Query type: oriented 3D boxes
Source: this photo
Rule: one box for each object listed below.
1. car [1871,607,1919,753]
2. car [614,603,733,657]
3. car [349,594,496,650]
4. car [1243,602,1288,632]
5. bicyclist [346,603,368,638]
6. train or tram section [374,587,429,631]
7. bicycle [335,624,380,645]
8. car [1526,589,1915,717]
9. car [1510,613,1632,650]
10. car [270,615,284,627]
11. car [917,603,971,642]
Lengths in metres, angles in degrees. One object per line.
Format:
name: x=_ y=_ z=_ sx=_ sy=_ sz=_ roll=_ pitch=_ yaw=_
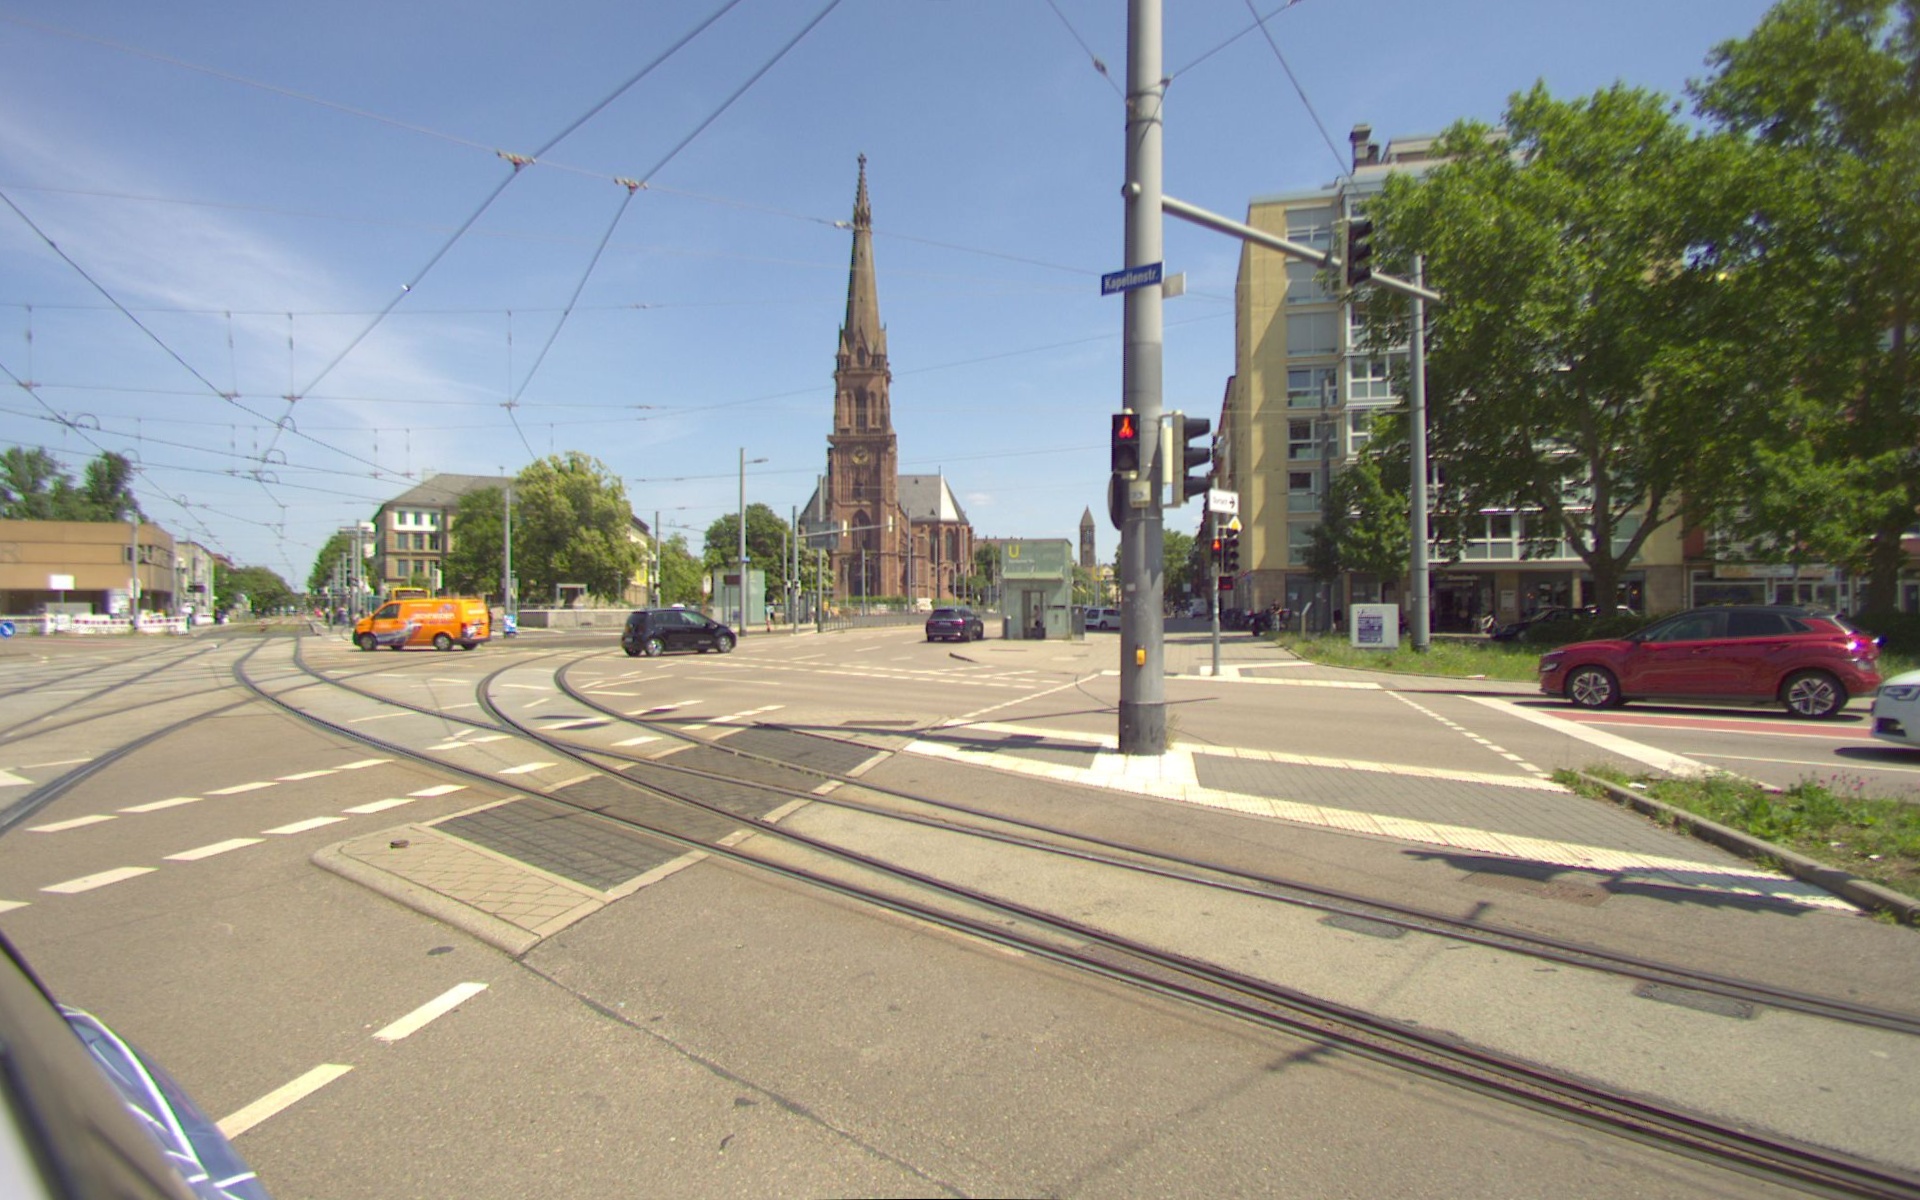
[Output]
car: x=10.447 y=0.724 z=8.415 sx=4.205 sy=1.309 sz=1.687 roll=-1 pitch=-2 yaw=45
car: x=-8.942 y=0.904 z=31.696 sx=3.334 sy=1.586 sz=1.336 roll=0 pitch=0 yaw=-42
car: x=-20.278 y=0.808 z=38.278 sx=4.534 sy=2.029 sz=1.999 roll=-1 pitch=-1 yaw=2
car: x=12.768 y=0.705 z=42.240 sx=1.956 sy=1.163 sz=0.504 roll=-3 pitch=1 yaw=-27
bicyclist: x=-29.953 y=1.005 z=50.291 sx=0.528 sy=1.701 sz=0.802 roll=-1 pitch=-1 yaw=41
train or tram section: x=-43.455 y=0.730 z=78.619 sx=2.797 sy=3.238 sz=9.132 roll=0 pitch=-1 yaw=-35
bicycle: x=-29.896 y=1.694 z=50.229 sx=0.528 sy=0.986 sz=1.881 roll=-1 pitch=-1 yaw=40
car: x=10.978 y=0.726 z=14.884 sx=4.402 sy=1.610 sz=1.516 roll=-1 pitch=-3 yaw=45
car: x=27.537 y=1.416 z=45.747 sx=4.281 sy=1.630 sz=1.990 roll=-1 pitch=-1 yaw=16
car: x=-90.899 y=2.779 z=134.645 sx=1.417 sy=1.608 sz=4.010 roll=0 pitch=-1 yaw=-35
car: x=-0.638 y=0.925 z=42.613 sx=1.758 sy=1.541 sz=3.991 roll=-1 pitch=0 yaw=7
